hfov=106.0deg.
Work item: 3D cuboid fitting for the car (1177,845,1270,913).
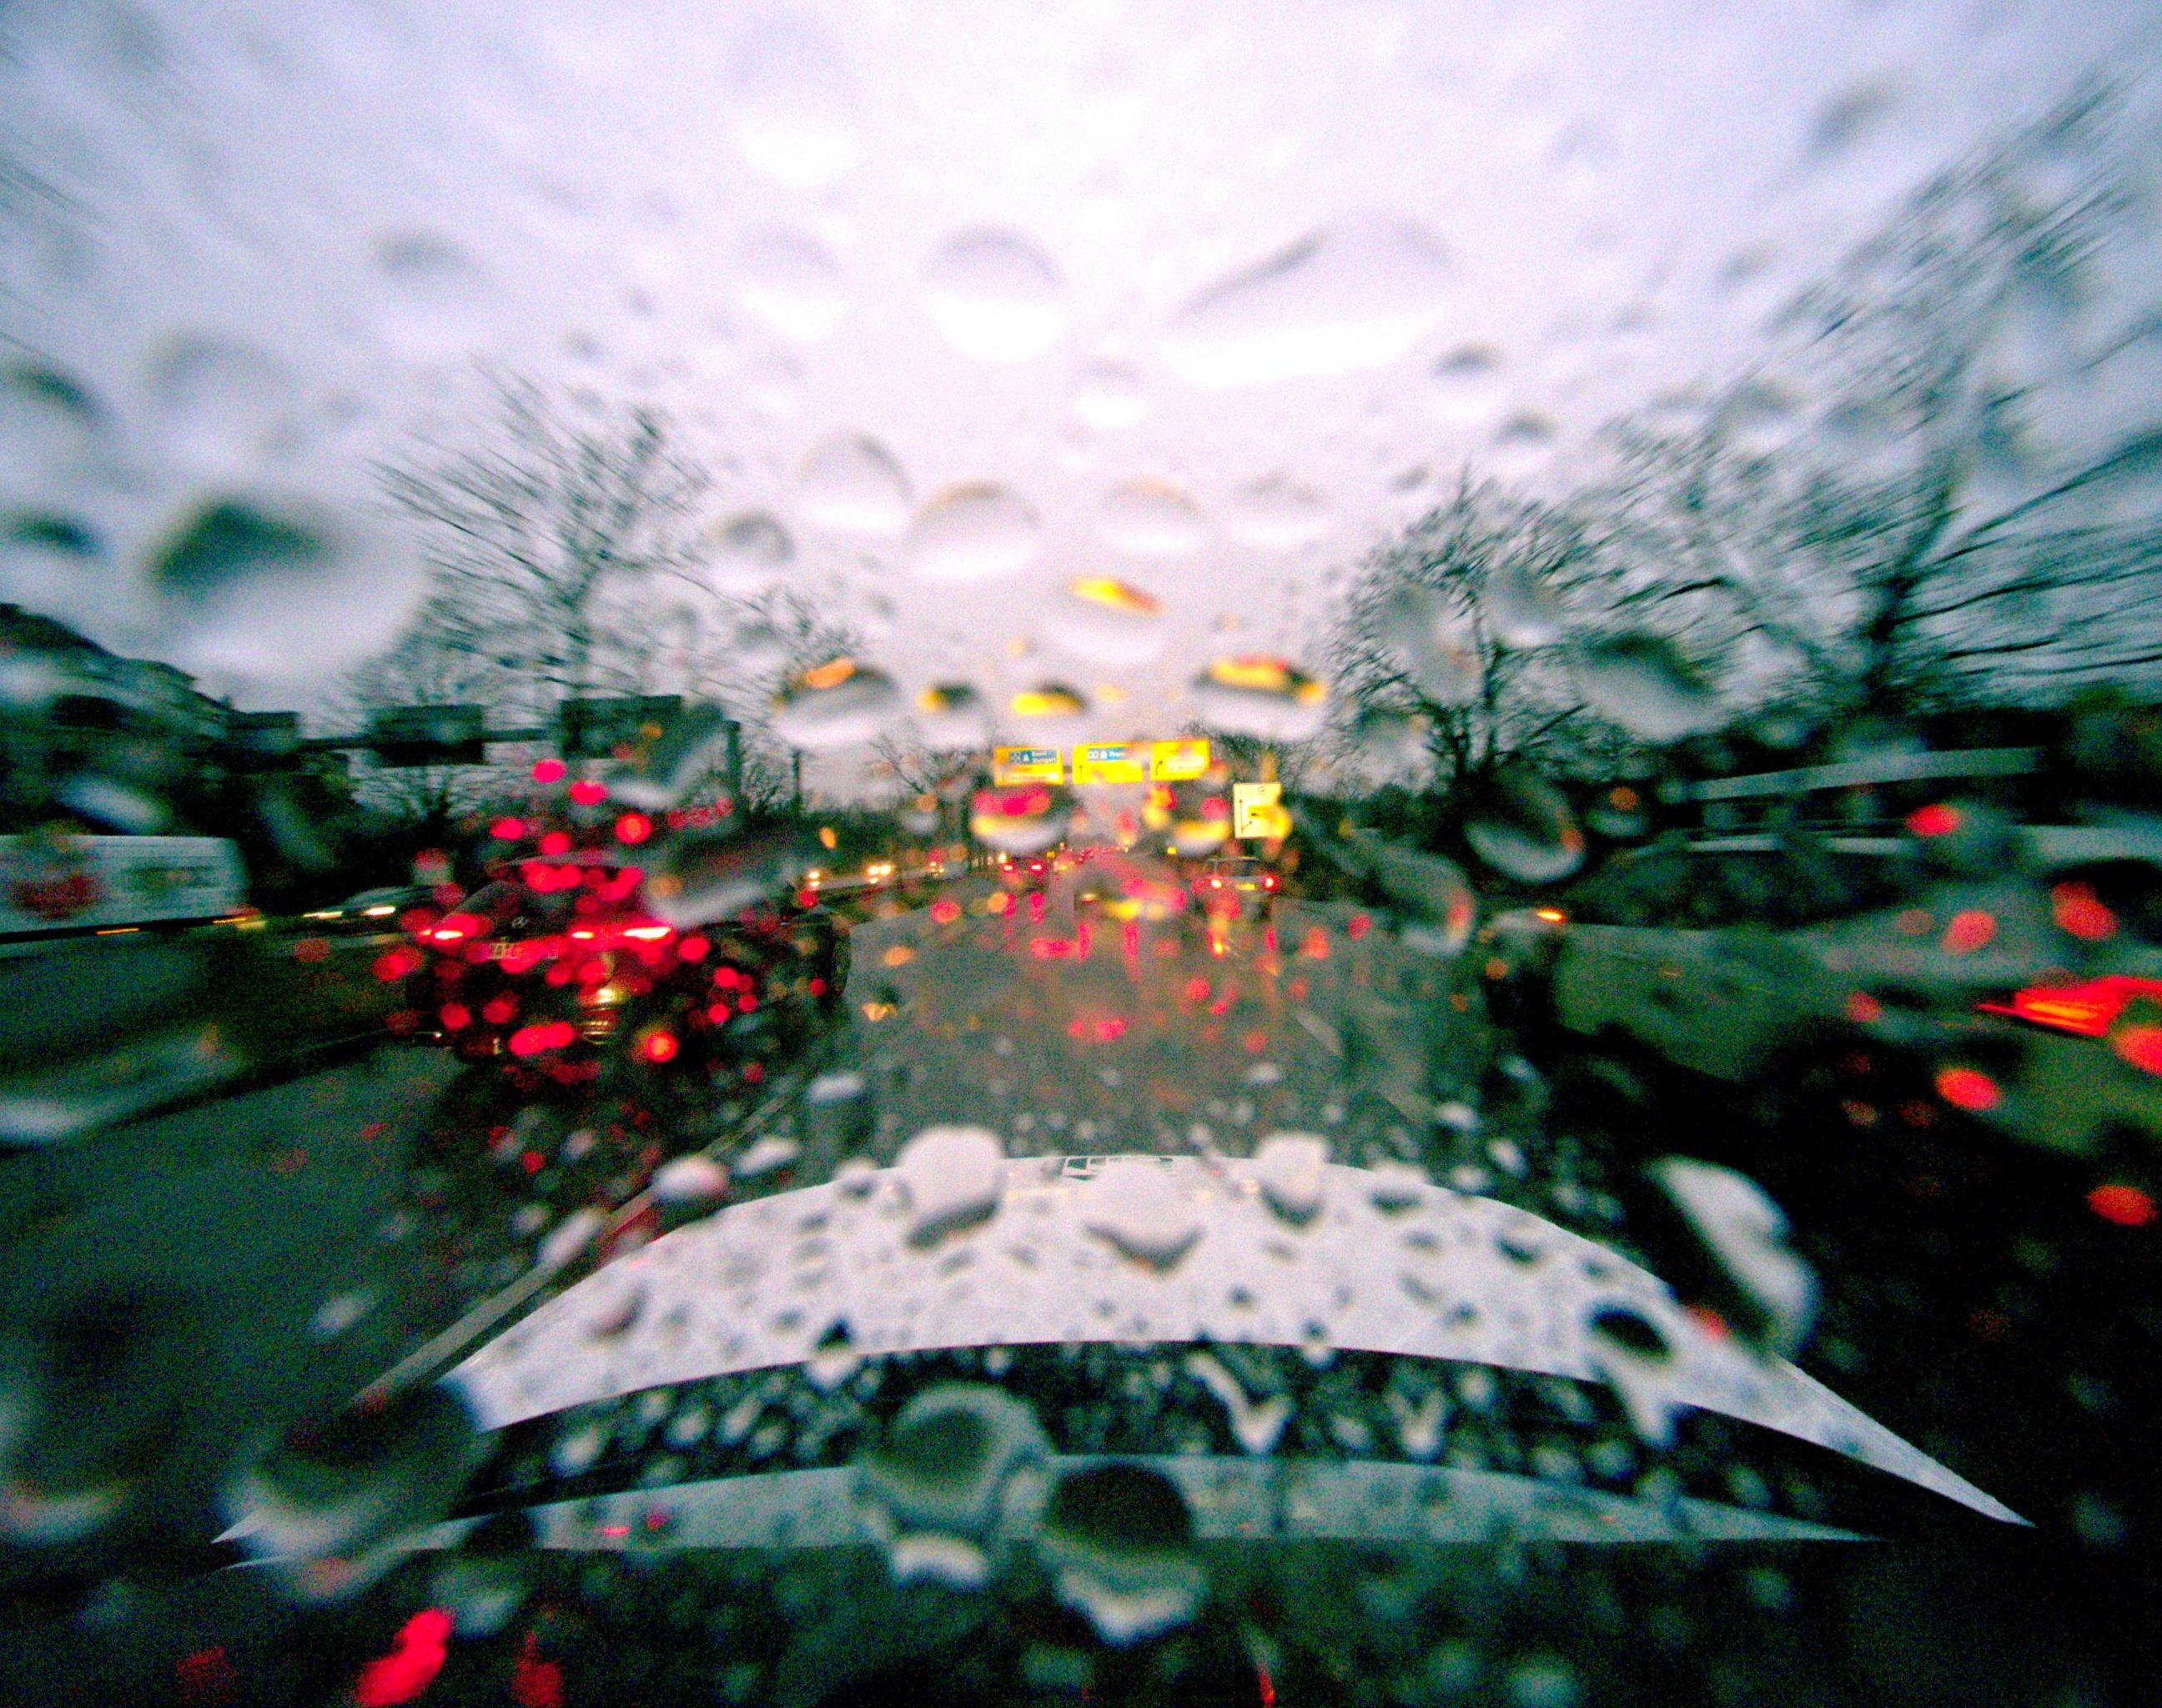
[{"bbox_3d":[3.764,0.650,22.275,1.925,1.648,4.469,-1,-1,3],"label":"car"}]

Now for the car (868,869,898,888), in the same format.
[{"bbox_3d":[-18.311,2.260,75.418,1.779,1.627,3.575,-1,0,1],"label":"car"}]

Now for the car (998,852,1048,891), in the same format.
[{"bbox_3d":[-2.648,0.800,38.178,1.815,1.648,4.002,-2,-1,2],"label":"car"}]

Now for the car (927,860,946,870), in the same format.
[{"bbox_3d":[-20.377,1.469,114.685,1.745,1.308,4.317,-2,0,2],"label":"car"}]

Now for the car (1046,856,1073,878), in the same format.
[{"bbox_3d":[-1.679,0.997,64.700,1.815,1.648,4.002,-2,-1,2],"label":"car"}]

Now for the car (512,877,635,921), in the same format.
[{"bbox_3d":[-19.663,1.696,31.806,1.897,1.446,4.444,-1,-1,2],"label":"car"}]

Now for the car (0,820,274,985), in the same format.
[{"bbox_3d":[-20.704,0.912,15.873,2.282,3.005,7.352,-1,-1,3],"label":"car"}]

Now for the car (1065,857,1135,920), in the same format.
[{"bbox_3d":[0.600,0.946,23.581,1.815,1.648,4.469,-1,-1,3],"label":"car"}]

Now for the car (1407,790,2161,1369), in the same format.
[{"bbox_3d":[3.648,0.626,4.531,1.810,1.618,4.408,-2,-1,-1],"label":"car"}]

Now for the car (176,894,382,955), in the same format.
[{"bbox_3d":[-23.363,2.004,23.973,1.897,1.446,4.091,-1,-1,2],"label":"car"}]

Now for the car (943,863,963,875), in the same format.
[{"bbox_3d":[-16.188,1.882,103.295,1.745,1.308,4.317,-2,0,2],"label":"car"}]

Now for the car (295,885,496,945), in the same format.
[{"bbox_3d":[-20.049,1.736,24.128,1.894,1.446,4.463,-1,-1,6],"label":"car"}]

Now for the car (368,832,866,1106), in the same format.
[{"bbox_3d":[-3.489,0.735,7.319,1.816,1.648,4.467,-2,-1,1],"label":"car"}]

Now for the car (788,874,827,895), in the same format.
[{"bbox_3d":[-25.758,2.837,76.891,1.985,1.851,4.430,-1,0,3],"label":"car"}]
